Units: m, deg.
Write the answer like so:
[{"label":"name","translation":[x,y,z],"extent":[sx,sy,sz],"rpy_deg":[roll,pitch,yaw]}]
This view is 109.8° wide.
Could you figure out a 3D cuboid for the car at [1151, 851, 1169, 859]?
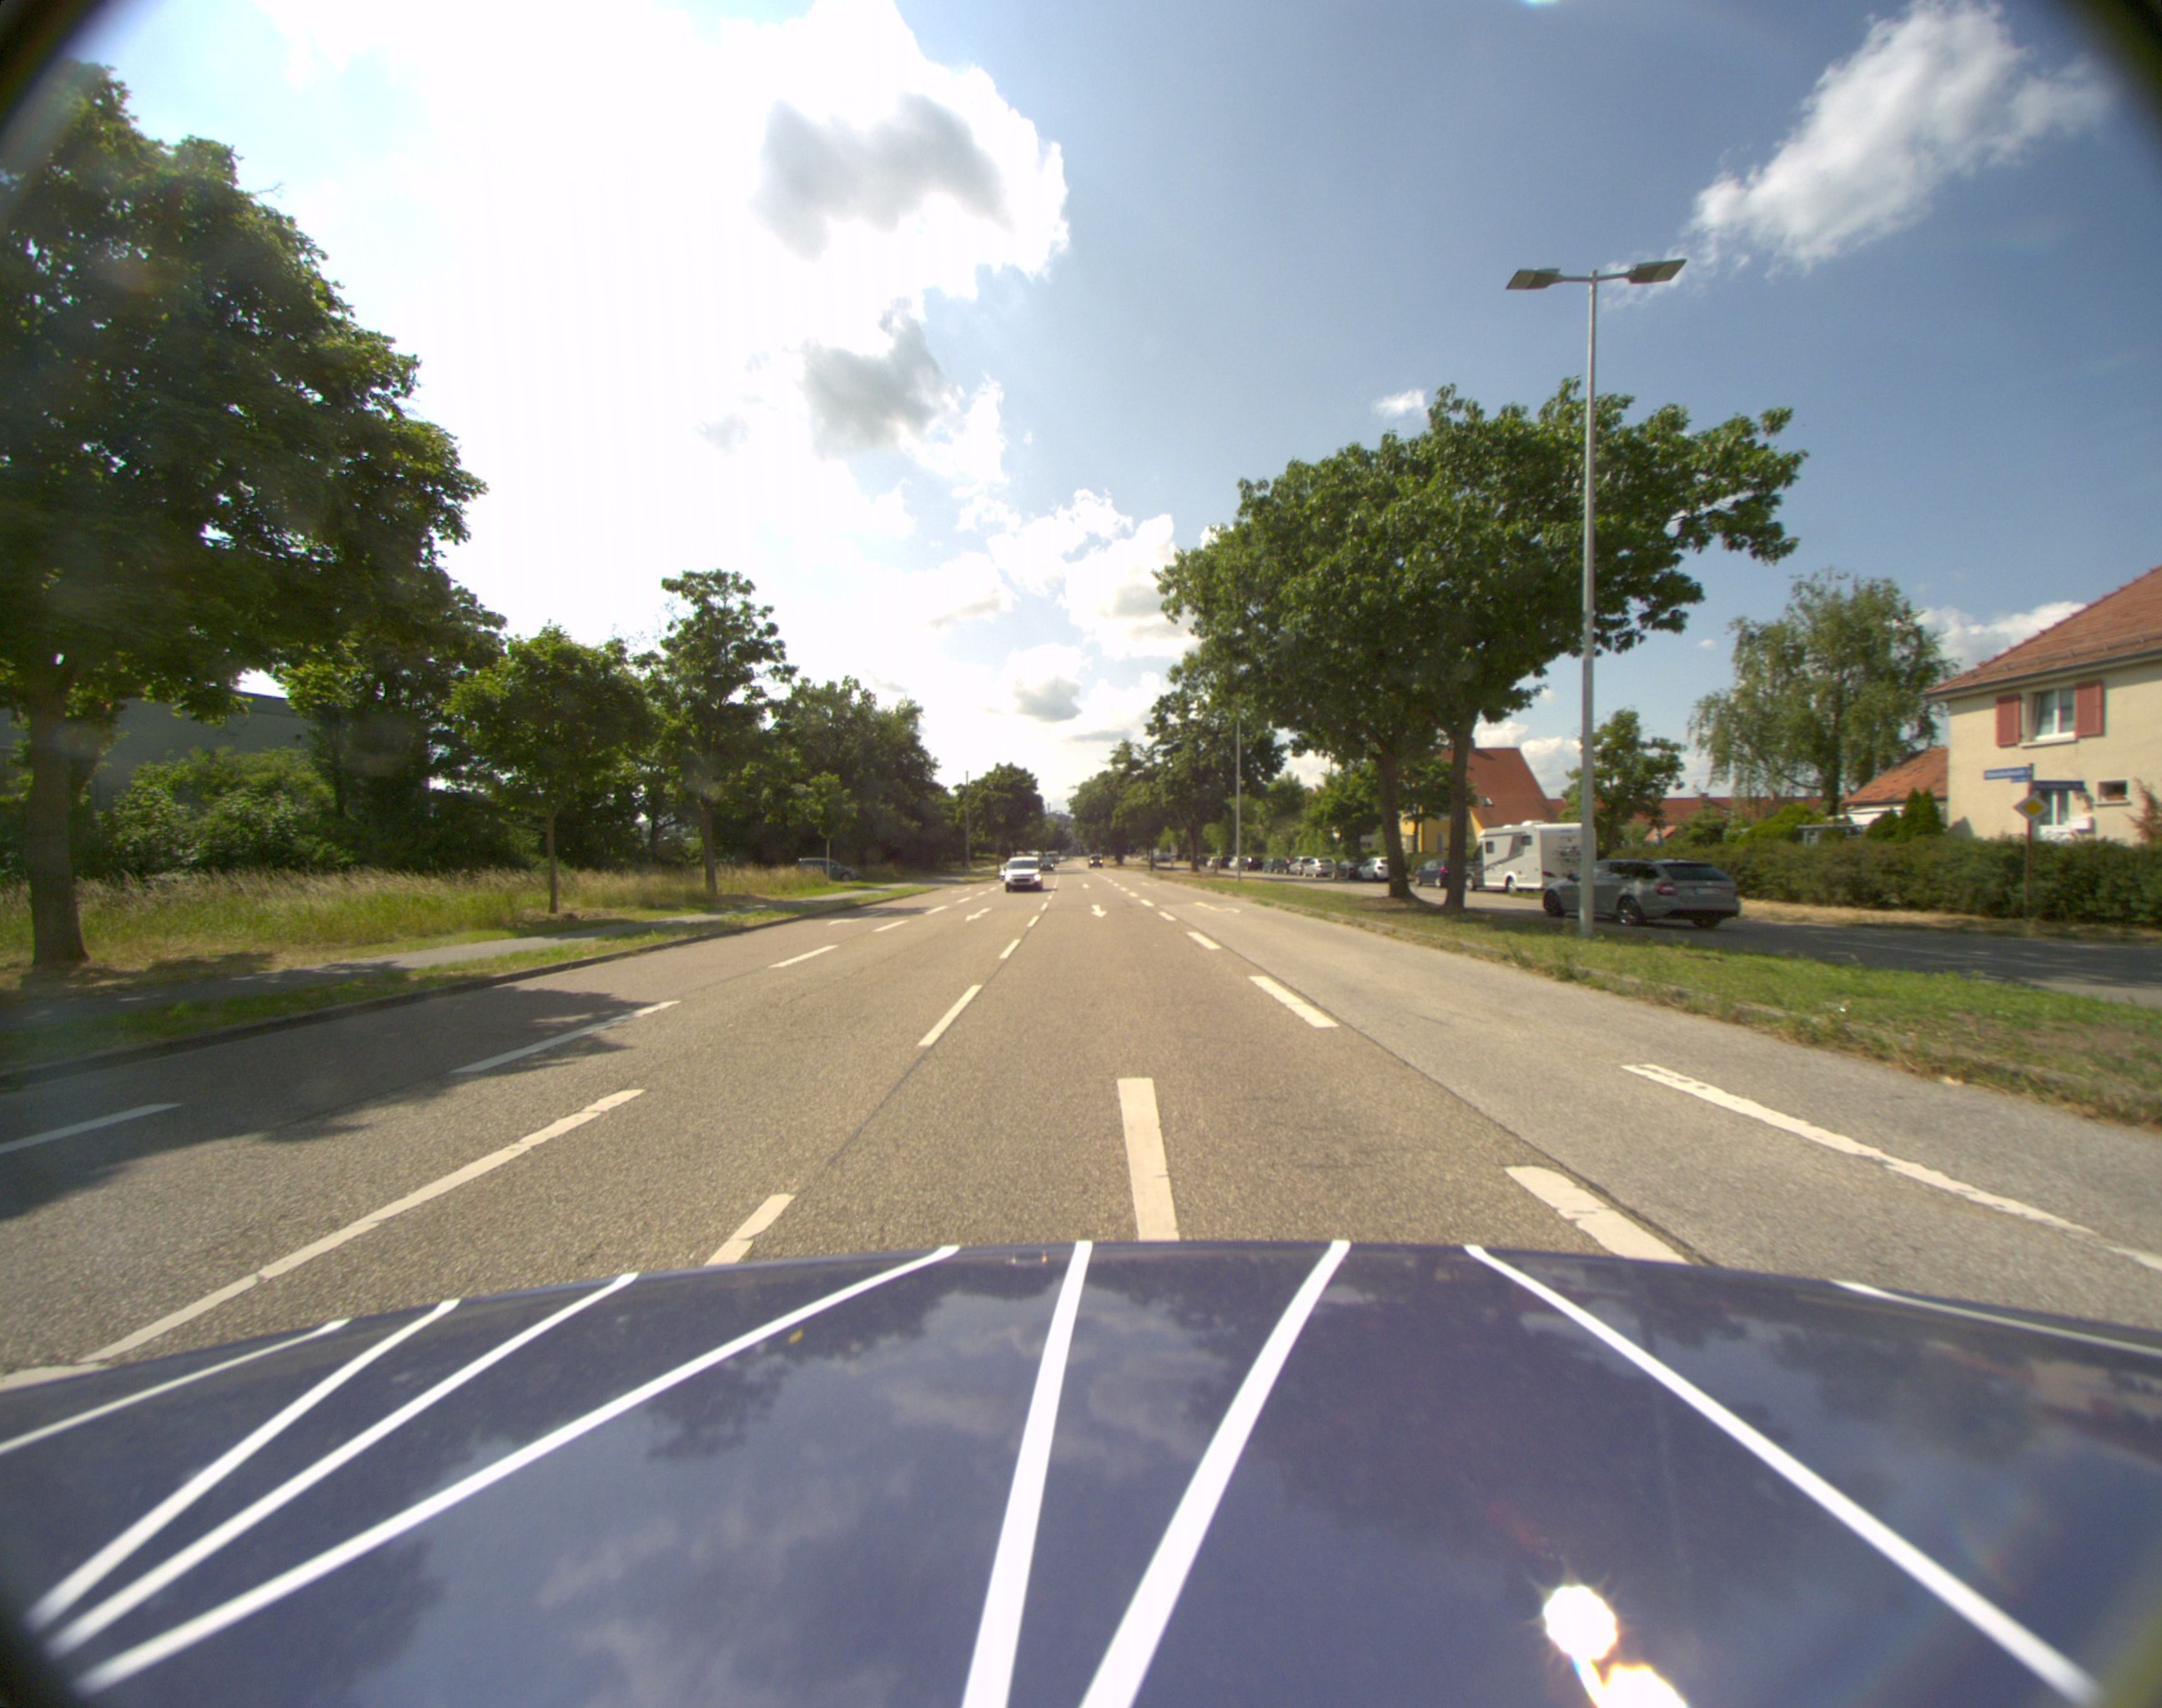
[{"label":"car","translation":[18.799,0.227,180.427],"extent":[3.997,1.502,1.800],"rpy_deg":[-3,1,0]}]

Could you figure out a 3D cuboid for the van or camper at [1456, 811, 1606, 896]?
[{"label":"van or camper","translation":[18.717,-0.011,32.242],"extent":[2.264,3.093,7.322],"rpy_deg":[-3,0,3]}]

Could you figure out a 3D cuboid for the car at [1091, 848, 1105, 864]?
[{"label":"car","translation":[2.204,0.279,99.819],"extent":[1.768,1.893,4.540],"rpy_deg":[-3,1,1]}]

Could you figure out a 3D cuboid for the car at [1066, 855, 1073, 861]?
[{"label":"car","translation":[-2.970,1.028,203.503],"extent":[1.799,1.501,4.000],"rpy_deg":[-1,0,1]}]

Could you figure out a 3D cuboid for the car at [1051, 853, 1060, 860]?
[{"label":"car","translation":[-5.287,0.414,156.789],"extent":[1.892,1.281,3.999],"rpy_deg":[-3,1,-2]}]

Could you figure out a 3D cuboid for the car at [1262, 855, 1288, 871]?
[{"label":"car","translation":[18.929,0.849,74.301],"extent":[1.566,1.387,3.476],"rpy_deg":[-3,1,-1]}]

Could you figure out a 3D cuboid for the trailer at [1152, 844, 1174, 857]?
[{"label":"trailer","translation":[20.869,-0.801,192.463],"extent":[2.820,3.090,5.764],"rpy_deg":[-3,0,37]}]

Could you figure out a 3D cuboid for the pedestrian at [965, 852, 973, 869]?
[{"label":"pedestrian","translation":[-12.234,0.698,83.248],"extent":[0.719,1.783,0.740],"rpy_deg":[-3,1,-2]}]

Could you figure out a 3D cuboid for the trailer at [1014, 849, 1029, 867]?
[{"label":"trailer","translation":[-8.379,0.538,107.221],"extent":[1.958,2.338,4.604],"rpy_deg":[1,1,-2]}]

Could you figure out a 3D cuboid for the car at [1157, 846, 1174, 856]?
[{"label":"car","translation":[19.521,-0.745,175.683],"extent":[4.007,2.002,1.800],"rpy_deg":[-4,1,-43]}]

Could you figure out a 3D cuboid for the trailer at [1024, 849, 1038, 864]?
[{"label":"trailer","translation":[-8.443,0.362,128.046],"extent":[1.999,2.352,4.781],"rpy_deg":[3,1,-1]}]

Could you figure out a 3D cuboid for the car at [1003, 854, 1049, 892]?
[{"label":"car","translation":[-2.822,0.942,39.797],"extent":[1.935,1.774,4.715],"rpy_deg":[-3,0,0]}]

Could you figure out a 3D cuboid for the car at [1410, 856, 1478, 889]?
[{"label":"car","translation":[18.641,0.894,39.175],"extent":[1.640,1.477,3.992],"rpy_deg":[-3,1,1]}]

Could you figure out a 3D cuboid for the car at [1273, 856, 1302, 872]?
[{"label":"car","translation":[18.762,0.878,69.128],"extent":[1.406,1.387,4.356],"rpy_deg":[-3,0,-1]}]

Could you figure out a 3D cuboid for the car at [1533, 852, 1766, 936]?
[{"label":"car","translation":[12.457,0.777,17.124],"extent":[1.737,1.499,4.652],"rpy_deg":[3,1,1]}]

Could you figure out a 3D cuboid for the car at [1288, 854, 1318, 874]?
[{"label":"car","translation":[18.865,0.809,64.635],"extent":[1.406,1.548,3.741],"rpy_deg":[-3,0,-1]}]

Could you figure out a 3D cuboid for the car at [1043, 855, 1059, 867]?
[{"label":"car","translation":[-3.587,0.800,91.031],"extent":[1.892,1.281,3.999],"rpy_deg":[-3,1,-2]}]

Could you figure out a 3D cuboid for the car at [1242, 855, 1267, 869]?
[{"label":"car","translation":[18.840,0.838,82.613],"extent":[1.665,1.473,4.103],"rpy_deg":[-3,0,-2]}]

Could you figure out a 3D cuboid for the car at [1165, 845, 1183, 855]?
[{"label":"car","translation":[20.475,-0.889,167.018],"extent":[4.007,2.002,1.800],"rpy_deg":[-4,1,-43]}]

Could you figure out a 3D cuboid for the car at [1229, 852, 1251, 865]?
[{"label":"car","translation":[18.797,0.509,89.815],"extent":[1.665,1.443,3.845],"rpy_deg":[-3,1,-2]}]

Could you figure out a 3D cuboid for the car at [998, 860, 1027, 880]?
[{"label":"car","translation":[-5.297,1.226,59.605],"extent":[1.736,1.477,4.093],"rpy_deg":[-1,0,2]}]

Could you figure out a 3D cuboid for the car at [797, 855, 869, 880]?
[{"label":"car","translation":[-16.376,0.906,50.285],"extent":[4.175,1.484,1.784],"rpy_deg":[2,-2,-5]}]

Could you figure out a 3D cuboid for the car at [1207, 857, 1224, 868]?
[{"label":"car","translation":[18.426,1.140,104.032],"extent":[1.598,1.452,3.534],"rpy_deg":[-3,1,-2]}]

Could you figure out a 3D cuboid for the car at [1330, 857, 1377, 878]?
[{"label":"car","translation":[18.861,0.889,52.760],"extent":[1.640,1.298,4.584],"rpy_deg":[-3,0,1]}]

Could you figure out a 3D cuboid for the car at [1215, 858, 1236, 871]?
[{"label":"car","translation":[18.500,1.330,97.565],"extent":[1.665,1.603,4.313],"rpy_deg":[-3,1,-2]}]

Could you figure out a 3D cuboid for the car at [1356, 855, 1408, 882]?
[{"label":"car","translation":[18.850,0.867,47.735],"extent":[1.693,1.477,4.123],"rpy_deg":[-3,1,1]}]

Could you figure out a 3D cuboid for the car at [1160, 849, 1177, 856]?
[{"label":"car","translation":[20.015,-0.416,172.867],"extent":[4.007,1.390,1.569],"rpy_deg":[-3,1,-43]}]

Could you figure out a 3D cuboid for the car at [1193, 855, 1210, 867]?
[{"label":"car","translation":[18.199,1.043,114.483],"extent":[1.772,1.543,3.999],"rpy_deg":[-3,1,-2]}]

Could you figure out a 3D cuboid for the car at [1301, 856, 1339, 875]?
[{"label":"car","translation":[18.628,0.873,59.413],"extent":[1.514,1.362,4.531],"rpy_deg":[-3,0,1]}]

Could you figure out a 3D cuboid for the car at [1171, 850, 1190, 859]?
[{"label":"car","translation":[20.539,0.102,157.256],"extent":[4.008,1.849,1.800],"rpy_deg":[-2,0,-43]}]
